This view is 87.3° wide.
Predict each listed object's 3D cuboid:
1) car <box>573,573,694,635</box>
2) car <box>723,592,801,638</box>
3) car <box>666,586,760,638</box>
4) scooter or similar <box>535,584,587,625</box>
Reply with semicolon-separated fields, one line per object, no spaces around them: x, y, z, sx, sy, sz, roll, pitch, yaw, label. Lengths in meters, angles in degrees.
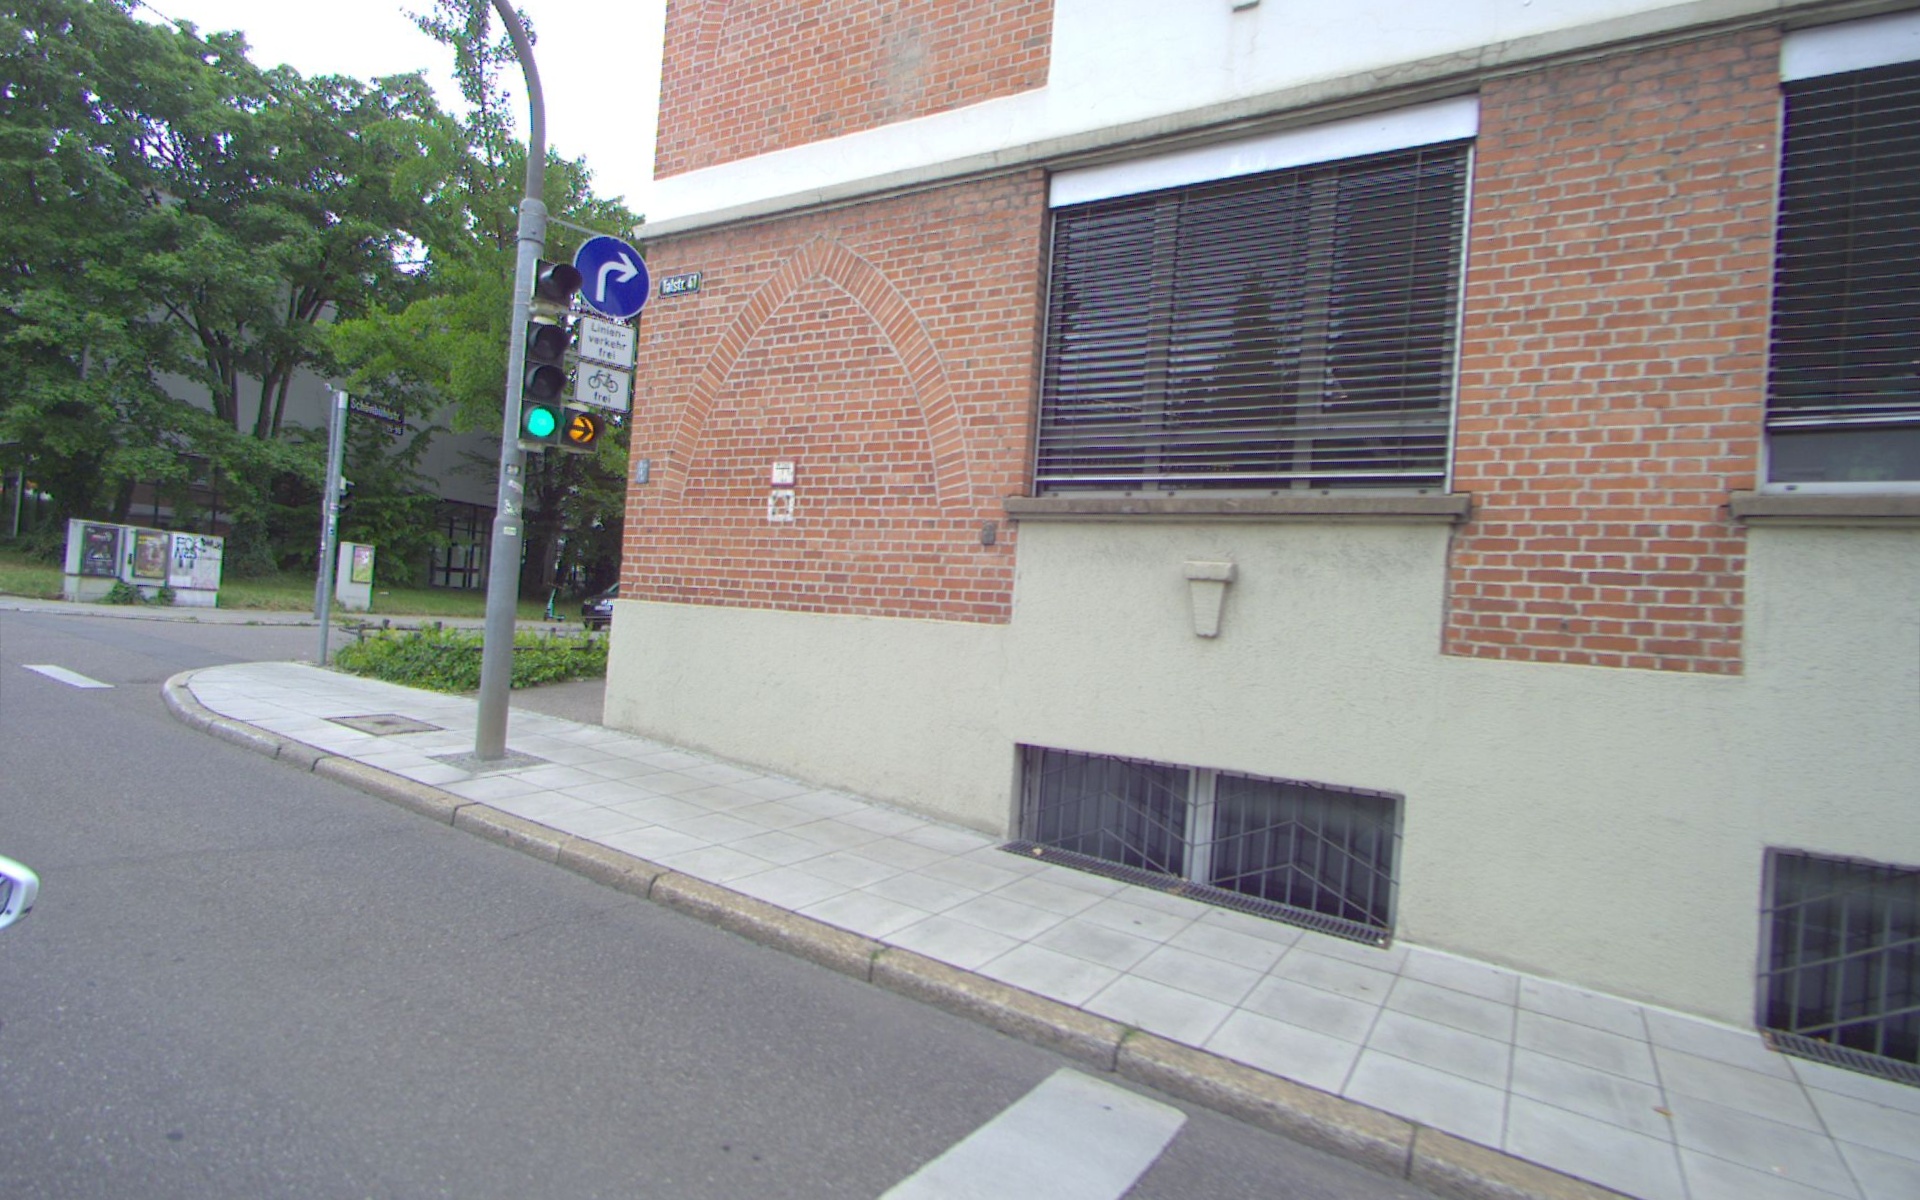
-9.975;0.178;31.087;1.910;1.622;4.092;3;-2;8;car
-8.188;0.671;41.876;1.910;1.622;4.005;3;-2;8;car
-8.943;0.480;36.785;1.910;1.622;4.005;3;-2;8;car
-13.245;0.164;33.416;0.521;1.191;1.770;7;-2;15;scooter or similar
